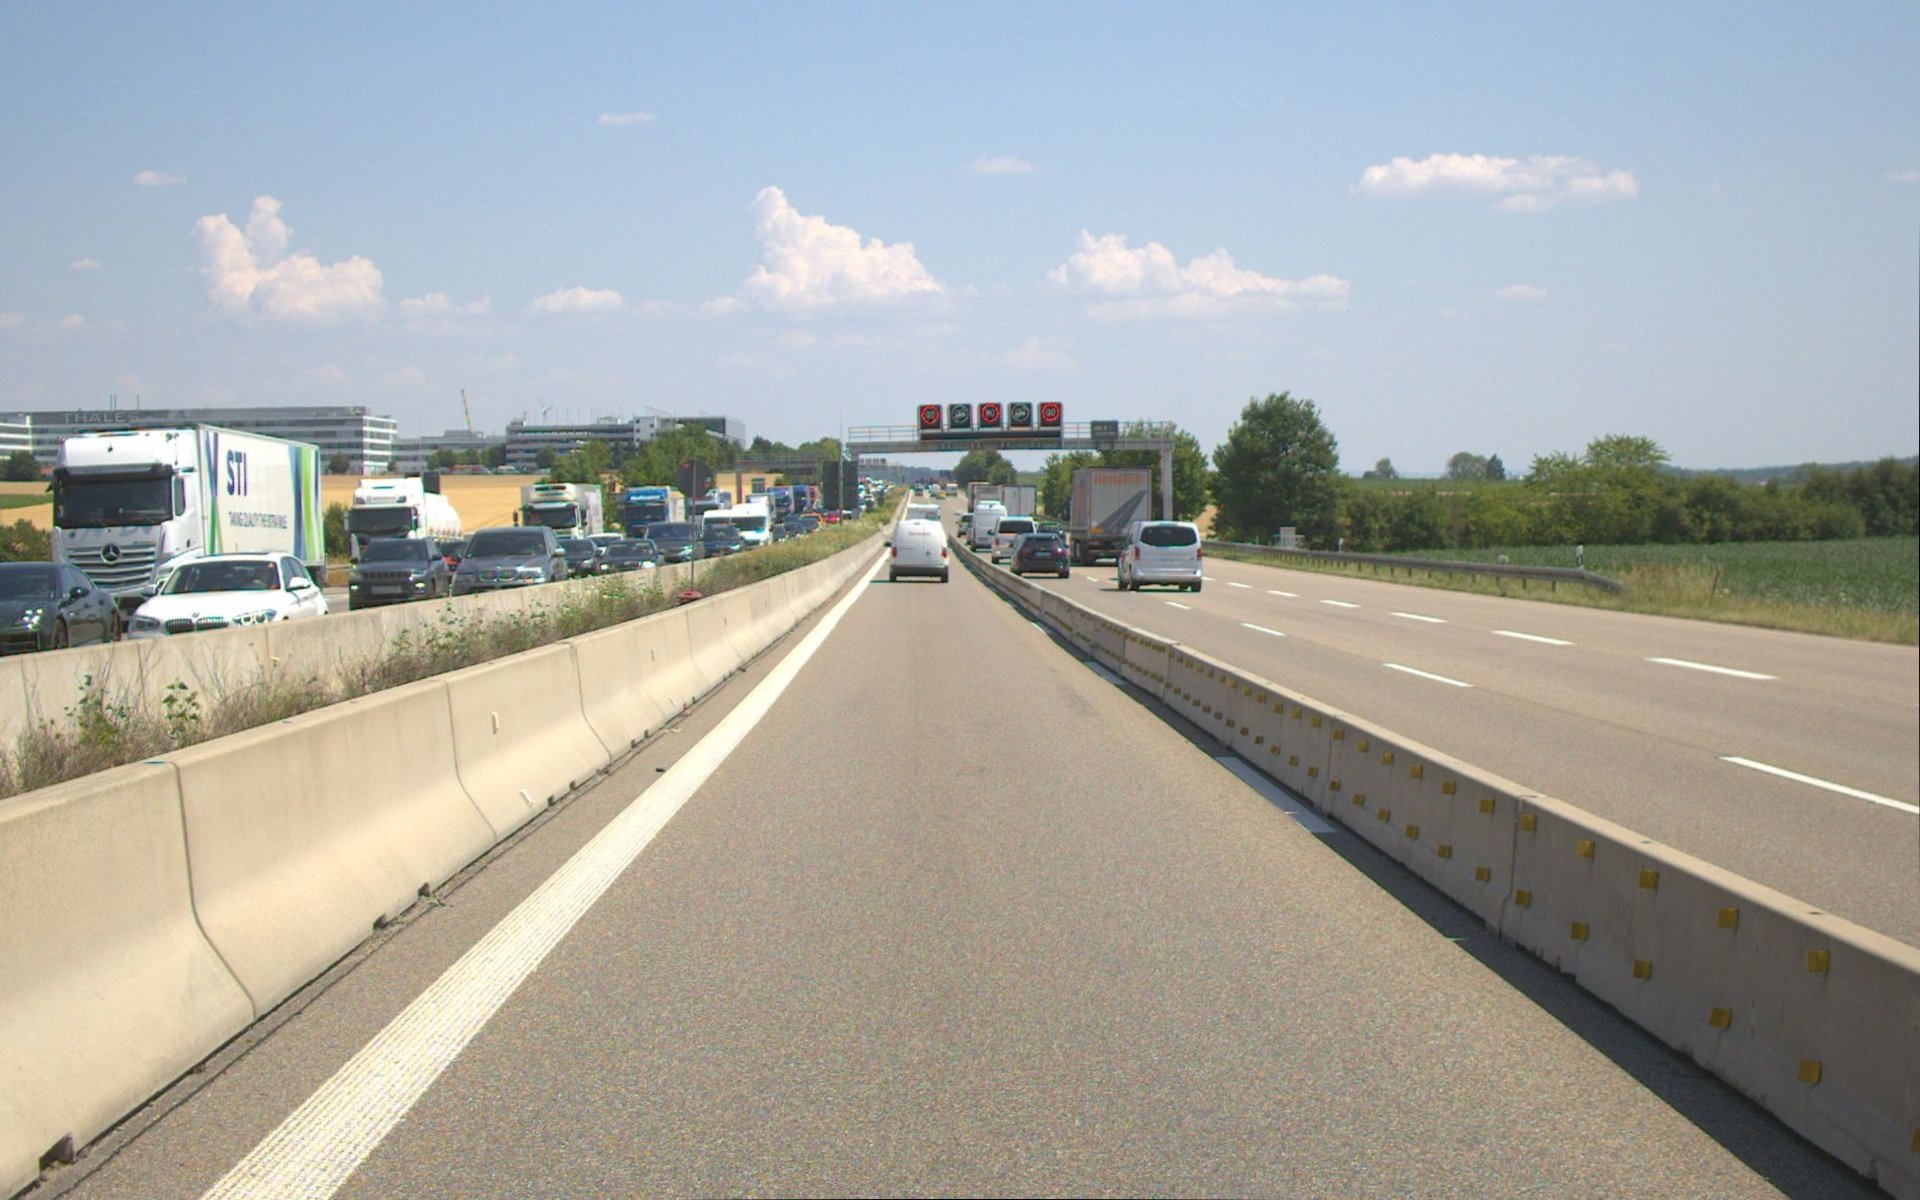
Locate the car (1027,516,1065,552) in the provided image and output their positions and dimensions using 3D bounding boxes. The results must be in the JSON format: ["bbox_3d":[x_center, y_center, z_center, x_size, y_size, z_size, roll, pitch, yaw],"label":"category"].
[{"bbox_3d":[4.873,-3.742,195.215,1.993,2.007,4.000,0,1,-1],"label":"car"}]

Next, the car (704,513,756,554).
[{"bbox_3d":[-9.049,-2.621,135.647,1.782,1.584,4.541,0,1,0],"label":"car"}]

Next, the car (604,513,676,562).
[{"bbox_3d":[-8.959,-1.777,96.439,1.655,1.347,4.267,0,1,0],"label":"car"}]

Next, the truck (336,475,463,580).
[{"bbox_3d":[-21.679,-2.848,133.709,2.899,3.763,13.290,-3,2,-1],"label":"truck"}]

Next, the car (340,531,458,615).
[{"bbox_3d":[-12.312,-0.619,75.697,1.993,1.809,4.000,0,1,-1],"label":"car"}]

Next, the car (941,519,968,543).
[{"bbox_3d":[-0.402,-5.229,259.702,1.993,1.829,4.000,0,1,-1],"label":"car"}]

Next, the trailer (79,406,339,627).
[{"bbox_3d":[-16.378,-1.843,76.075,2.892,4.360,12.994,-2,1,-1],"label":"trailer"}]

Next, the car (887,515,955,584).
[{"bbox_3d":[-1.158,-1.505,101.928,1.993,2.007,4.000,0,1,-1],"label":"car"}]

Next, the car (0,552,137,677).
[{"bbox_3d":[-11.891,0.140,43.554,1.812,1.481,4.963,0,1,-1],"label":"car"}]

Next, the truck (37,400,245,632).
[{"bbox_3d":[-16.302,-1.682,68.763,2.870,4.360,4.903,-2,1,-1],"label":"truck"}]

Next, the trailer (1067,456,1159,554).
[{"bbox_3d":[6.288,-3.888,142.573,3.277,3.953,9.113,0,1,-1],"label":"trailer"}]

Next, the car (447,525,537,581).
[{"bbox_3d":[-12.994,-1.331,95.684,1.846,1.477,4.922,0,1,0],"label":"car"}]

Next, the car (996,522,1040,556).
[{"bbox_3d":[2.469,-2.598,146.689,1.773,1.442,4.000,0,1,-1],"label":"car"}]

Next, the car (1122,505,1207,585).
[{"bbox_3d":[5.453,-1.472,92.040,1.993,2.112,4.000,0,1,-1],"label":"car"}]

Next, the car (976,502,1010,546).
[{"bbox_3d":[1.777,-4.151,187.536,1.773,2.384,4.000,0,1,-1],"label":"car"}]

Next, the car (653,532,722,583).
[{"bbox_3d":[-8.793,-1.399,111.198,1.843,1.564,5.345,0,1,0],"label":"car"}]

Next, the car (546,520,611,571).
[{"bbox_3d":[-12.640,-1.817,114.069,1.655,1.646,4.665,0,1,0],"label":"car"}]

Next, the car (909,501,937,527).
[{"bbox_3d":[-2.668,-6.179,247.361,1.993,1.829,4.000,0,1,-1],"label":"car"}]

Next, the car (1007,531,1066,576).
[{"bbox_3d":[2.479,-1.513,112.415,1.773,1.442,4.000,0,1,-1],"label":"car"}]

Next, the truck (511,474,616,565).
[{"bbox_3d":[-16.807,-3.451,146.579,2.795,3.597,13.290,-3,1,0],"label":"truck"}]

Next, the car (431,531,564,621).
[{"bbox_3d":[-8.559,-0.470,63.963,1.890,1.611,4.821,0,1,-1],"label":"car"}]

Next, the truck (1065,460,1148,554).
[{"bbox_3d":[6.225,-3.933,146.637,3.271,3.953,4.913,0,1,-1],"label":"truck"}]

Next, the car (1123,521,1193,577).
[{"bbox_3d":[6.398,-1.653,111.647,1.993,1.787,4.000,0,1,-1],"label":"car"}]

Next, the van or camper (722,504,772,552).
[{"bbox_3d":[-10.068,-3.450,163.157,2.035,2.214,7.209,1,2,-1],"label":"van or camper"}]

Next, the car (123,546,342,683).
[{"bbox_3d":[-8.484,0.129,40.428,1.674,1.514,4.508,0,1,-1],"label":"car"}]
